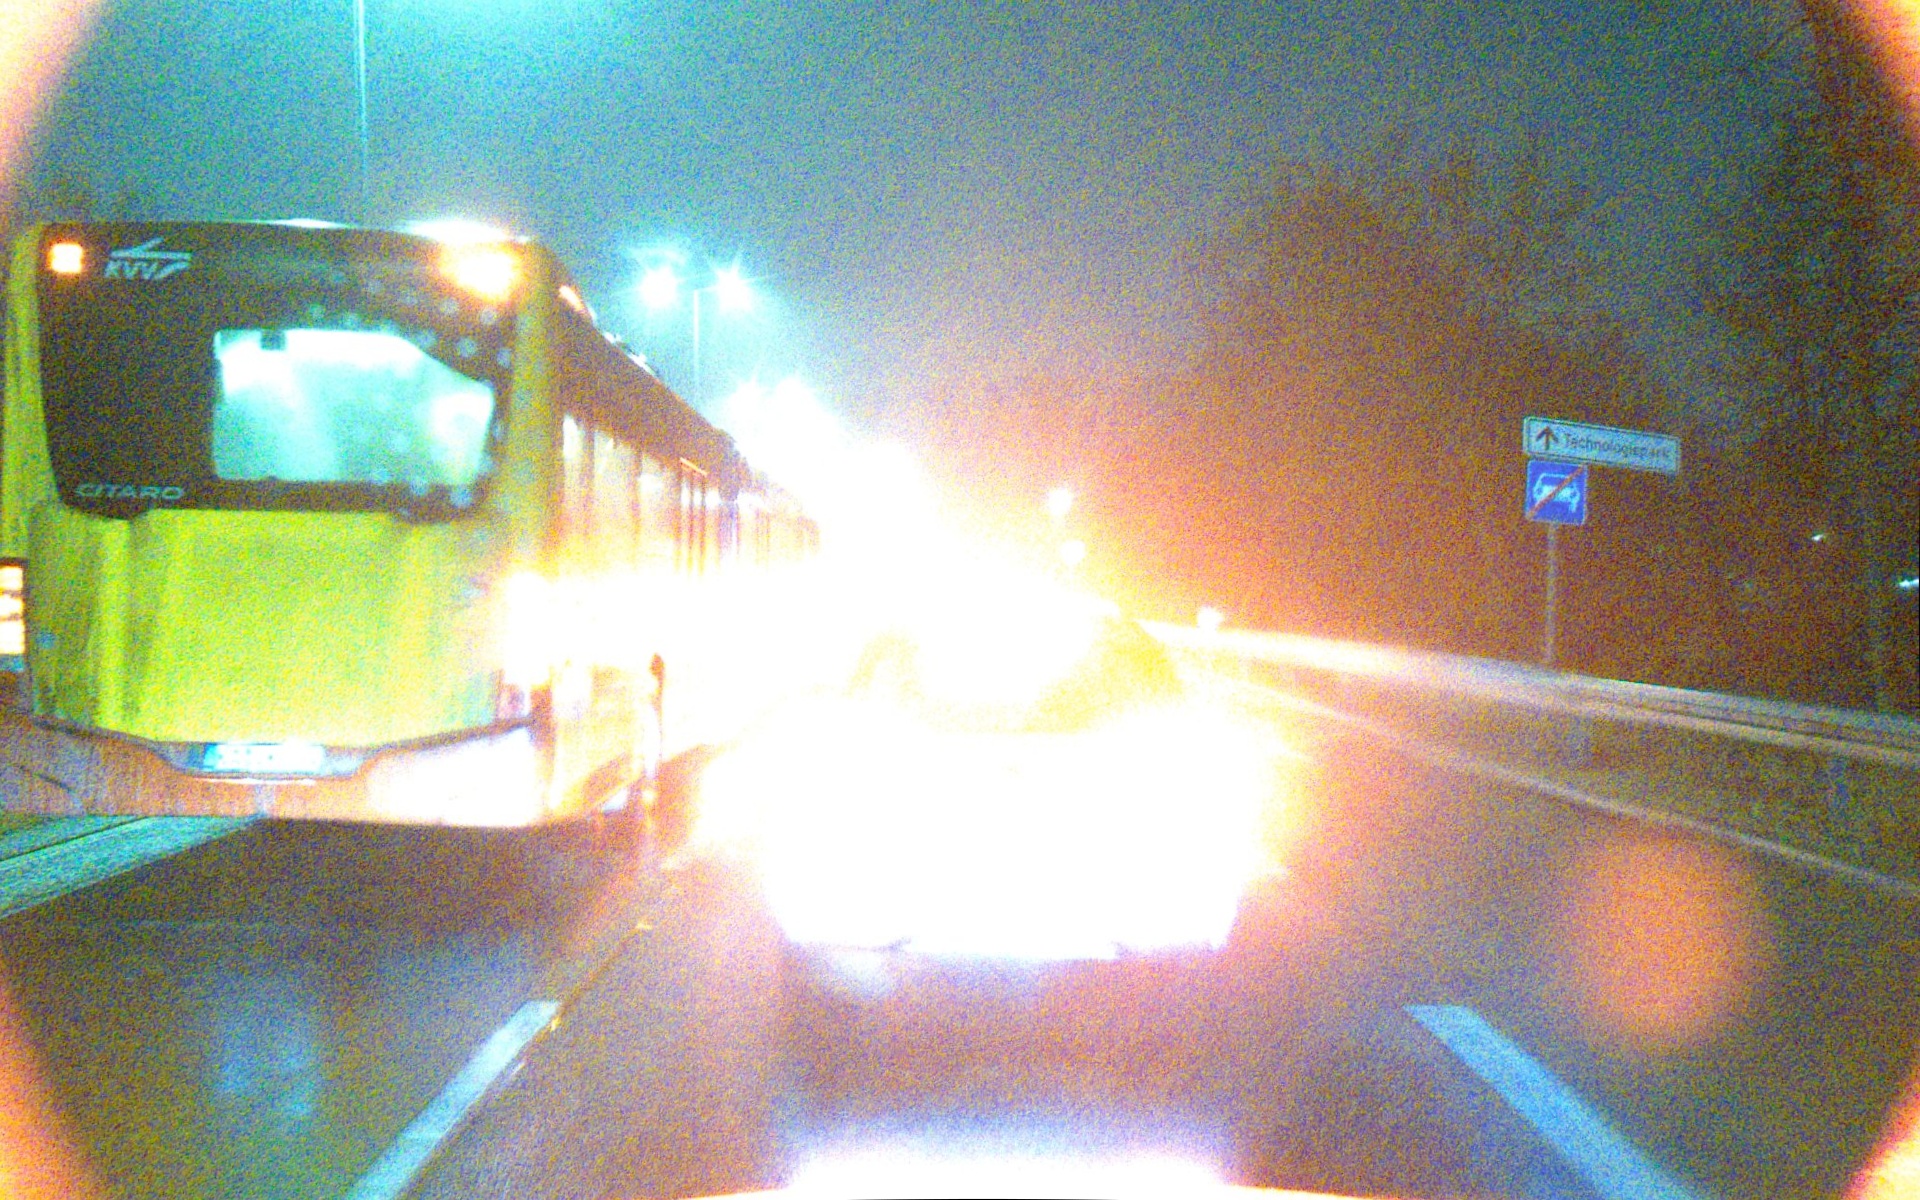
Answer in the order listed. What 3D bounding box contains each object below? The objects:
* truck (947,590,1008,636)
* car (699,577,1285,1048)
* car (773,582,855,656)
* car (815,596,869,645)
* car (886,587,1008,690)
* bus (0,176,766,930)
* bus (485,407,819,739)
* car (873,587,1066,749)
[{"bbox_3d":[1.094,0.817,99.018,3.005,2.573,7.170,2,-1,5],"label":"truck"},{"bbox_3d":[0.120,0.699,7.279,1.904,1.517,3.716,1,0,0],"label":"car"},{"bbox_3d":[-3.228,0.434,37.120,1.526,1.513,3.808,2,-1,-1],"label":"car"},{"bbox_3d":[-3.883,0.695,54.878,1.526,1.513,3.808,2,-1,-1],"label":"car"},{"bbox_3d":[-0.212,0.573,26.272,1.785,1.487,3.715,1,0,-1],"label":"car"},{"bbox_3d":[-3.148,-0.243,11.766,2.689,3.178,9.197,2,1,-2],"label":"bus"},{"bbox_3d":[-3.401,-0.310,20.673,2.688,3.178,8.701,2,1,-2],"label":"bus"},{"bbox_3d":[0.062,0.640,17.332,1.785,1.487,3.715,1,0,-1],"label":"car"}]
